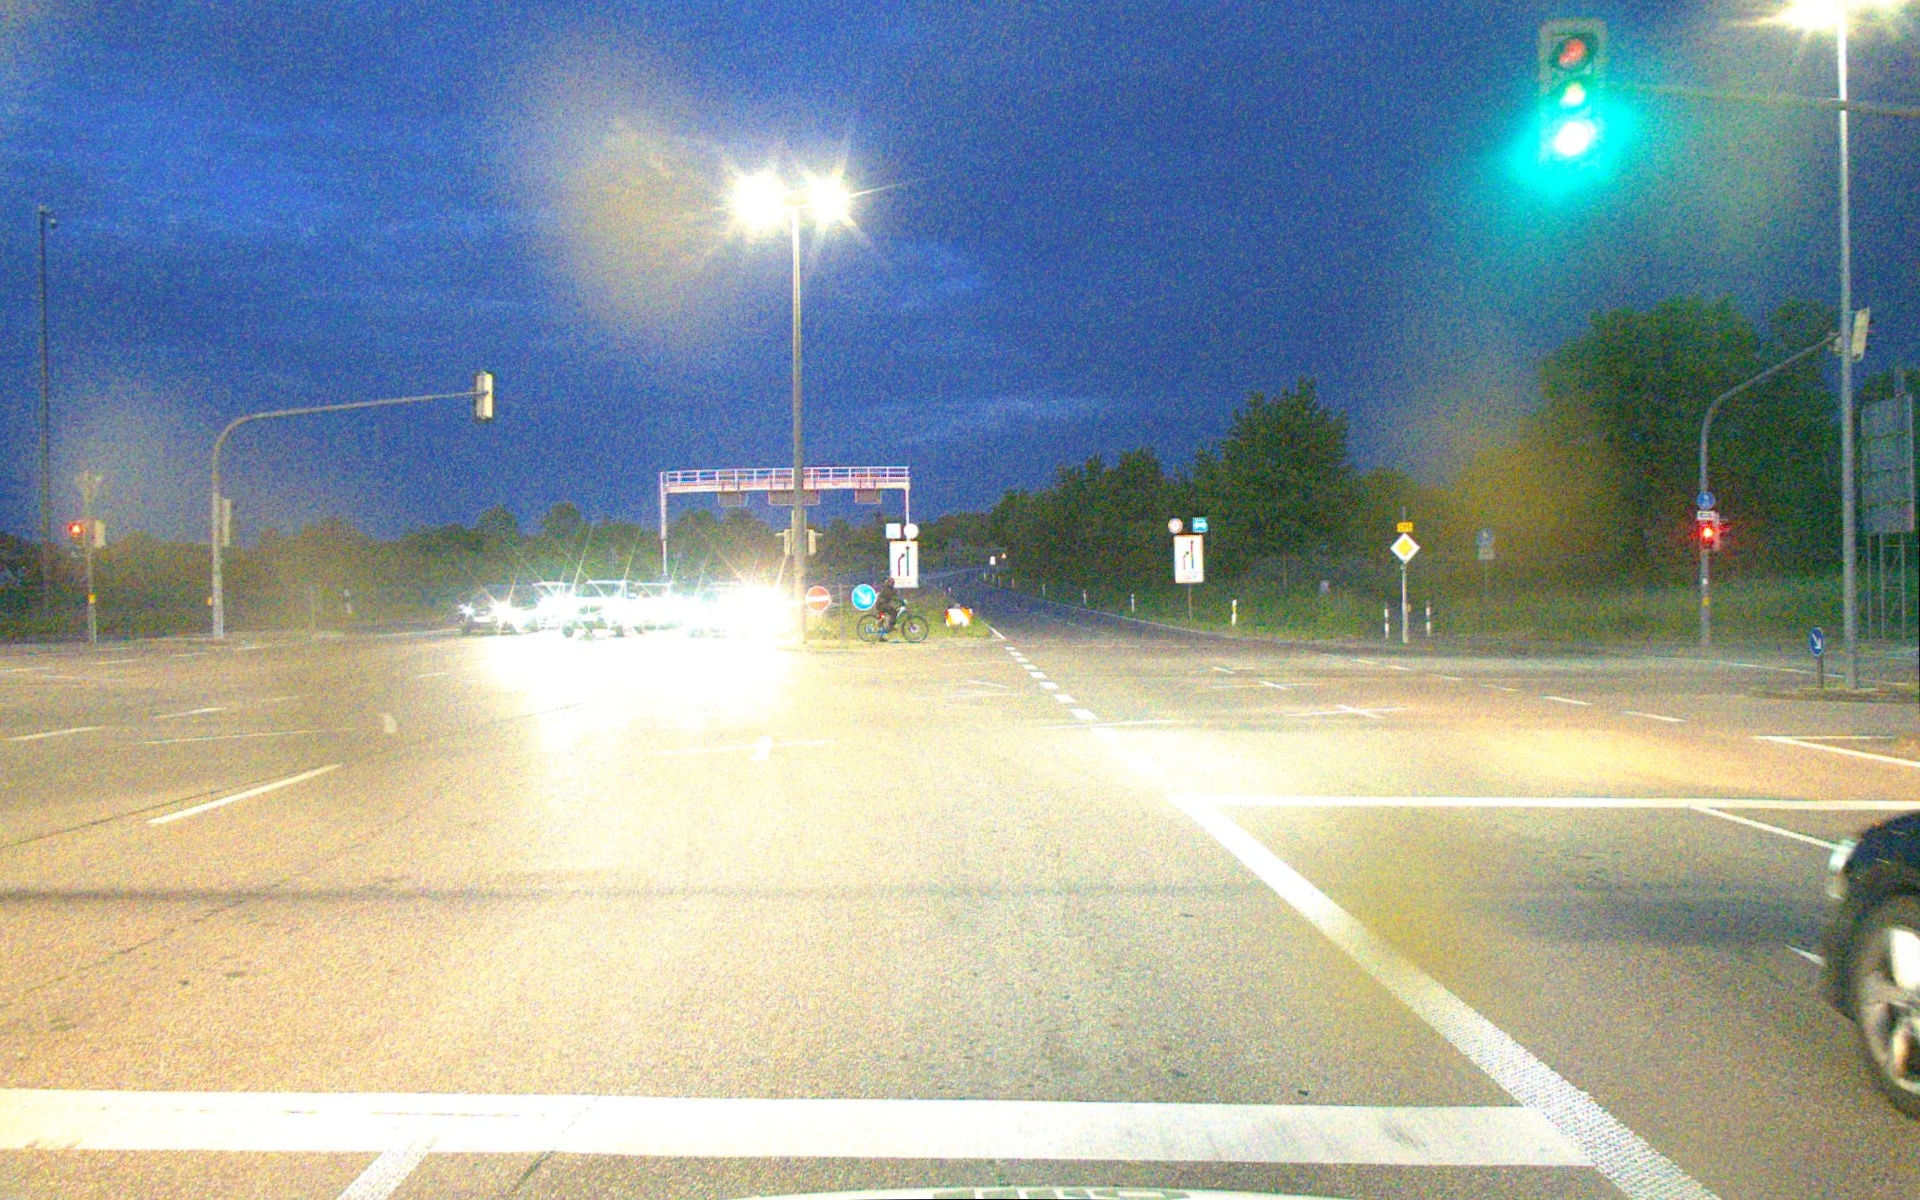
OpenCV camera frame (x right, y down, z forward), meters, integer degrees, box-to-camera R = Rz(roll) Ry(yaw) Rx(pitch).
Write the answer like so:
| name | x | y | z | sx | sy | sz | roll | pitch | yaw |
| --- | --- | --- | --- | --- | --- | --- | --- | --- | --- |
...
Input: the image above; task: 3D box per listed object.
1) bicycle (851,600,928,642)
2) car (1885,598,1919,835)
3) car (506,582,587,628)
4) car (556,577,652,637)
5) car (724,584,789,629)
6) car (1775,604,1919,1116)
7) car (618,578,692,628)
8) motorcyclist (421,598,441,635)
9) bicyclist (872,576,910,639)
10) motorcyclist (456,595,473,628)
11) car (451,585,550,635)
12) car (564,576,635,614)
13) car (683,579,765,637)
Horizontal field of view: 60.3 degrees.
| name | x | y | z | sx | sy | sz | roll | pitch | yaw |
| --- | --- | --- | --- | --- | --- | --- | --- | --- | --- |
| bicycle | -1.899 | 0.556 | 44.506 | 2.021 | 1.120 | 0.694 | 0 | 0 | -6 |
| car | 6.828 | 0.728 | 8.592 | 1.587 | 1.468 | 4.115 | 0 | 0 | -3 |
| car | -14.410 | 0.144 | 57.798 | 1.794 | 1.551 | 4.000 | -1 | 1 | 0 |
| car | -10.786 | 0.169 | 50.427 | 1.869 | 1.711 | 4.421 | 1 | 1 | 1 |
| car | -7.180 | 0.217 | 58.620 | 1.736 | 1.507 | 3.911 | 1 | 1 | 1 |
| car | 3.699 | 0.771 | 3.334 | 1.754 | 1.468 | 4.532 | 1 | 0 | -2 |
| car | -10.618 | 0.086 | 57.821 | 1.709 | 1.655 | 4.363 | 0 | 1 | 1 |
| motorcyclist | -27.711 | 0.874 | 86.663 | 0.900 | 1.840 | 0.866 | -4 | -3 | -18 |
| bicyclist | -1.860 | 0.197 | 44.524 | 0.977 | 1.680 | 0.603 | 0 | 0 | -6 |
| motorcyclist | -27.461 | 0.640 | 91.633 | 0.669 | 1.790 | 0.788 | -4 | -2 | -9 |
| car | -14.200 | 0.280 | 51.364 | 1.743 | 1.471 | 4.292 | 1 | 1 | 2 |
| car | -14.169 | -0.218 | 65.195 | 1.794 | 1.414 | 4.397 | -1 | 1 | 0 |
| car | -7.174 | 0.204 | 50.642 | 1.814 | 1.661 | 4.586 | 0 | 1 | 0 |
